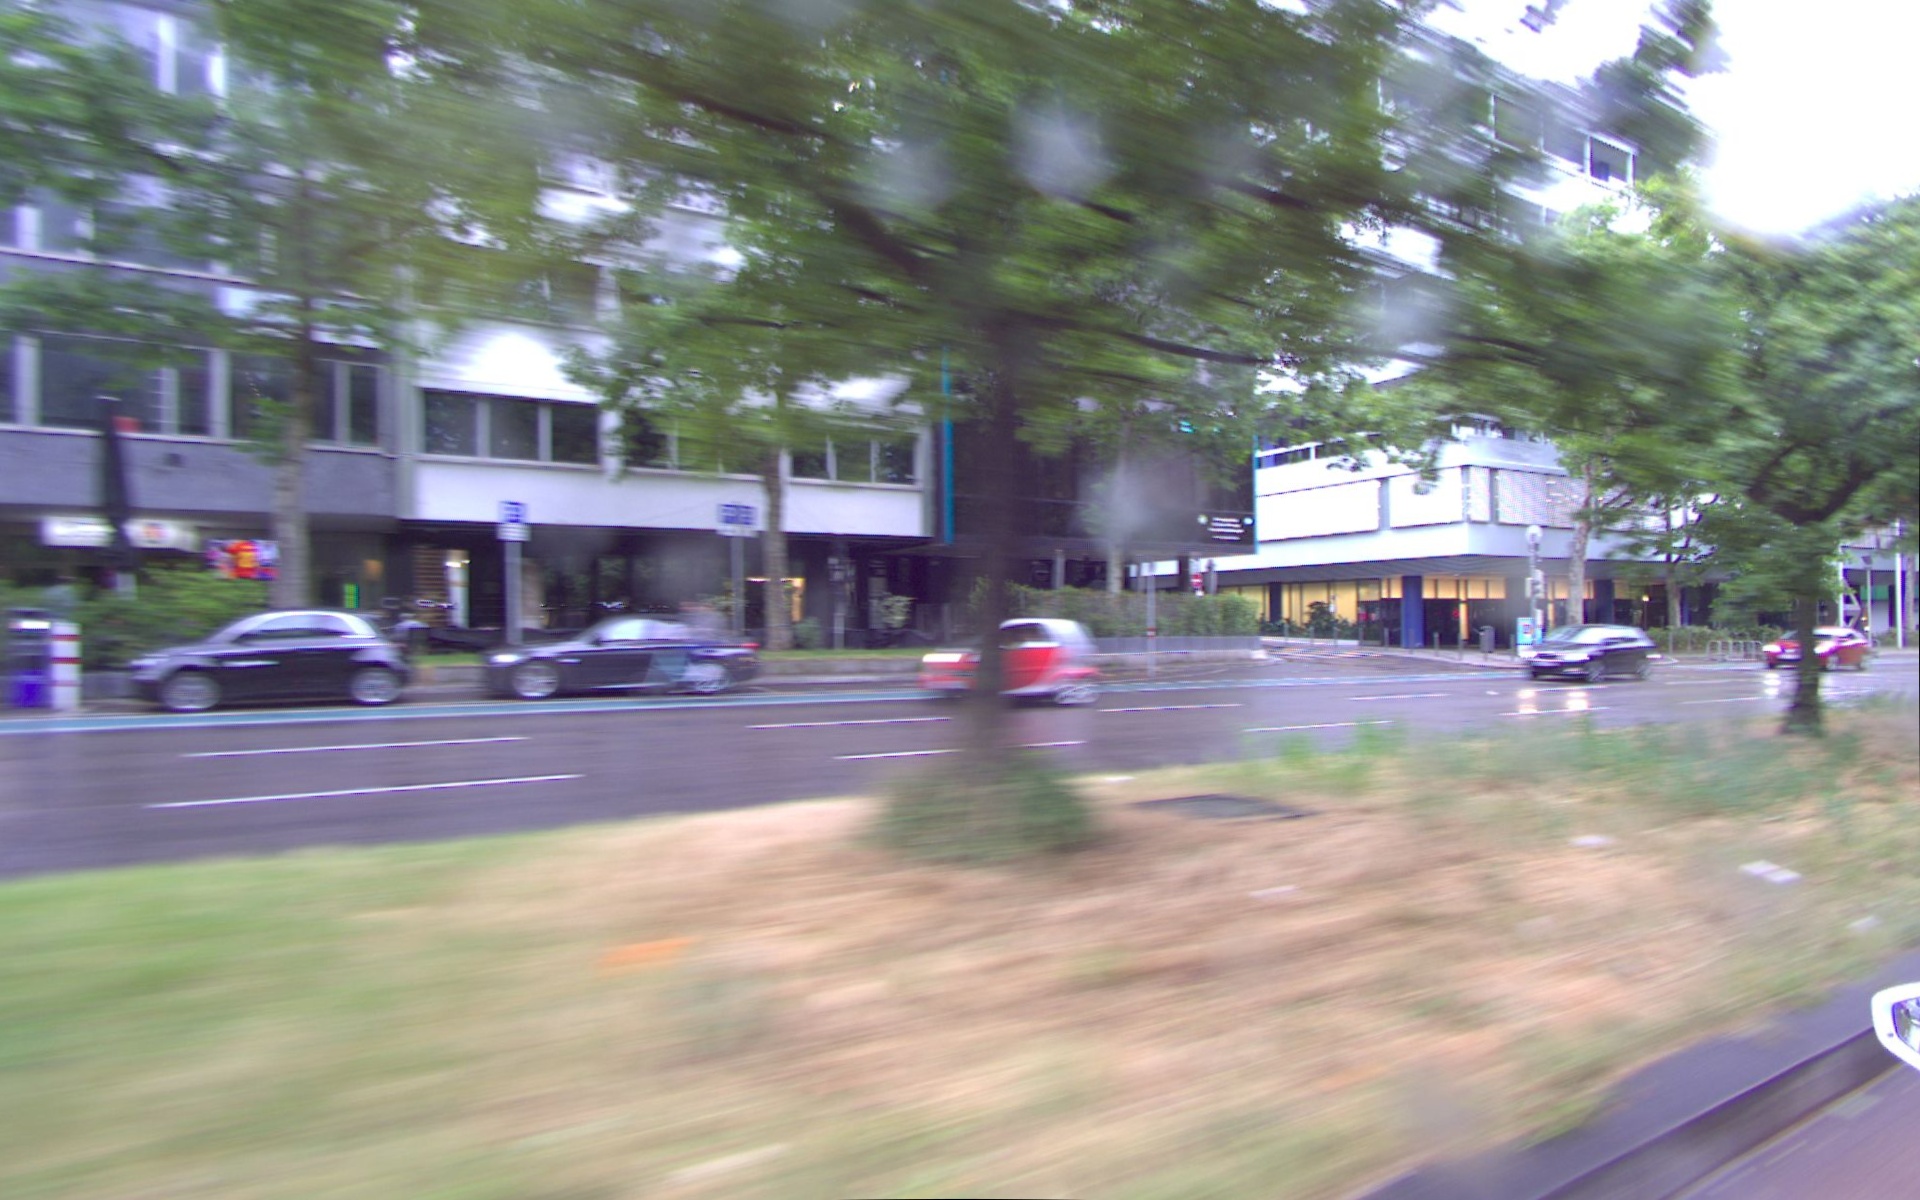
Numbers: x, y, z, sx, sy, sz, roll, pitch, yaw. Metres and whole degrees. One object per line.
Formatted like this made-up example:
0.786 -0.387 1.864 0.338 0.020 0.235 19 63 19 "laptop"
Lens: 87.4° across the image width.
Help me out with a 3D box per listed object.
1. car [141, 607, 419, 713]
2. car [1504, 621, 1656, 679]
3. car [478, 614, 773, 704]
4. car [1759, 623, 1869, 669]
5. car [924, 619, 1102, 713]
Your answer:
-10.402 0.850 15.641 3.420 1.488 1.684 0 0 -31 "car"
16.353 1.270 26.459 3.954 1.408 1.834 1 -1 -31 "car"
-5.996 0.979 18.236 4.848 1.428 1.684 0 0 -31 "car"
28.749 1.515 33.784 4.136 1.412 1.606 0 0 -31 "car"
0.918 1.075 17.276 2.699 1.483 1.487 0 -1 -30 "car"
